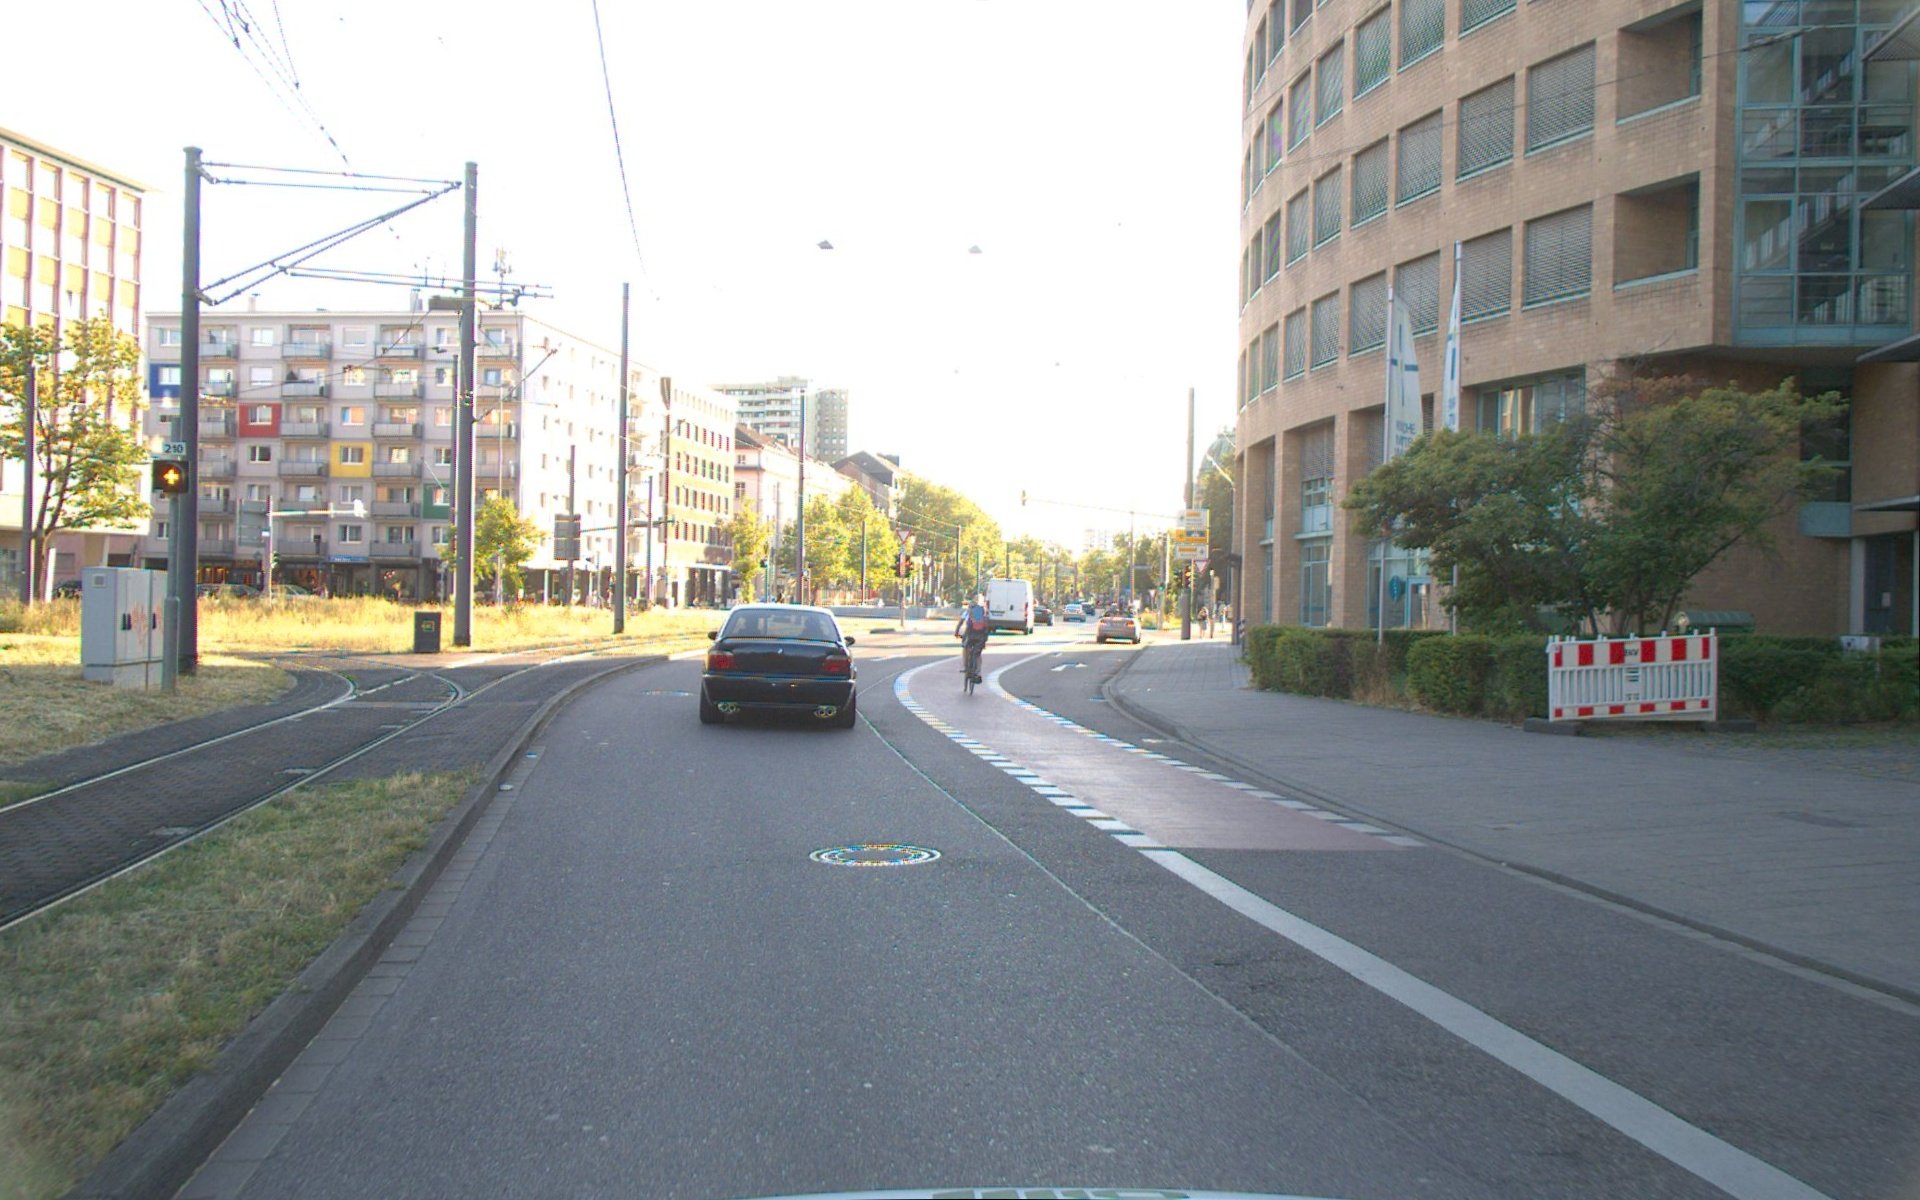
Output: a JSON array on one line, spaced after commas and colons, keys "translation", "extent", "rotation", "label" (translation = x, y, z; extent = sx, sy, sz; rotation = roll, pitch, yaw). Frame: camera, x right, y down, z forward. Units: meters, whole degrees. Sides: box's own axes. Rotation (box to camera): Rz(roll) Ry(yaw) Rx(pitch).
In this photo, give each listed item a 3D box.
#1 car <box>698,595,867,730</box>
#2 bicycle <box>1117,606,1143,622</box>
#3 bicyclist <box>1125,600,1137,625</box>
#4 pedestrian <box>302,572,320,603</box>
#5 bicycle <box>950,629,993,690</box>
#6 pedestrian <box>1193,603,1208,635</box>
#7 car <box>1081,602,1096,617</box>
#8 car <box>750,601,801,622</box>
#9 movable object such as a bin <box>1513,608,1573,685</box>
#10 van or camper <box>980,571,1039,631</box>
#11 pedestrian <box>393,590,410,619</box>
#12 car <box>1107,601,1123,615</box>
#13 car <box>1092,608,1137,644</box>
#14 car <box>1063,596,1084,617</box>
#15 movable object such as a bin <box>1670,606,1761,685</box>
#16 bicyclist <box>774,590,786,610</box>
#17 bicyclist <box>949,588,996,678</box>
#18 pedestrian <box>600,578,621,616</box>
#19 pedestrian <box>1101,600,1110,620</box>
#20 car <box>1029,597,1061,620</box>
[{"translation": [-2.109, 0.681, 20.553], "extent": [1.794, 1.377, 4.638], "rotation": [3, 0, -4], "label": "car"}, {"translation": [11.361, 0.951, 110.552], "extent": [1.692, 0.987, 0.610], "rotation": [2, 1, 5], "label": "bicycle"}, {"translation": [11.436, 0.823, 110.549], "extent": [0.781, 1.599, 0.663], "rotation": [1, 1, 5], "label": "bicyclist"}, {"translation": [-38.708, -0.749, 98.660], "extent": [0.690, 1.884, 0.737], "rotation": [1, 1, 8], "label": "pedestrian"}, {"translation": [0.190, 1.033, 29.119], "extent": [0.505, 0.971, 1.773], "rotation": [3, 1, -6], "label": "bicycle"}, {"translation": [12.110, 0.960, 83.322], "extent": [0.662, 1.597, 0.801], "rotation": [1, 1, 6], "label": "pedestrian"}, {"translation": [14.961, 1.095, 193.049], "extent": [1.756, 1.593, 4.003], "rotation": [1, 1, 4], "label": "car"}, {"translation": [-14.343, 0.883, 128.570], "extent": [3.912, 1.459, 1.715], "rotation": [2, 1, -8], "label": "car"}, {"translation": [11.573, 0.906, 32.822], "extent": [0.952, 1.462, 1.344], "rotation": [1, 1, 27], "label": "movable object such as a bin"}, {"translation": [2.354, 0.014, 77.292], "extent": [2.214, 2.670, 4.507], "rotation": [1, 1, 9], "label": "van or camper"}, {"translation": [-33.621, 0.284, 99.586], "extent": [0.723, 1.699, 0.783], "rotation": [1, 1, 8], "label": "pedestrian"}, {"translation": [18.765, 1.000, 200.263], "extent": [1.756, 1.593, 4.003], "rotation": [1, 1, 4], "label": "car"}, {"translation": [6.690, 1.094, 71.315], "extent": [1.745, 1.377, 4.270], "rotation": [2, 1, 7], "label": "car"}, {"translation": [9.631, 0.539, 140.353], "extent": [1.756, 1.593, 4.003], "rotation": [1, 1, 4], "label": "car"}, {"translation": [14.492, 0.862, 31.747], "extent": [1.313, 1.449, 0.924], "rotation": [1, 1, 1], "label": "movable object such as a bin"}, {"translation": [-13.827, 0.026, 126.906], "extent": [0.837, 1.467, 0.662], "rotation": [3, 1, -9], "label": "bicyclist"}, {"translation": [0.213, 0.564, 28.903], "extent": [0.642, 1.509, 1.036], "rotation": [3, 0, -6], "label": "bicyclist"}, {"translation": [-16.660, -0.146, 78.916], "extent": [0.706, 1.793, 0.649], "rotation": [1, 1, 29], "label": "pedestrian"}, {"translation": [11.444, 0.781, 130.223], "extent": [0.603, 1.501, 0.801], "rotation": [1, 1, 12], "label": "pedestrian"}, {"translation": [5.619, 0.518, 109.139], "extent": [1.700, 1.410, 4.004], "rotation": [1, 1, 9], "label": "car"}]
